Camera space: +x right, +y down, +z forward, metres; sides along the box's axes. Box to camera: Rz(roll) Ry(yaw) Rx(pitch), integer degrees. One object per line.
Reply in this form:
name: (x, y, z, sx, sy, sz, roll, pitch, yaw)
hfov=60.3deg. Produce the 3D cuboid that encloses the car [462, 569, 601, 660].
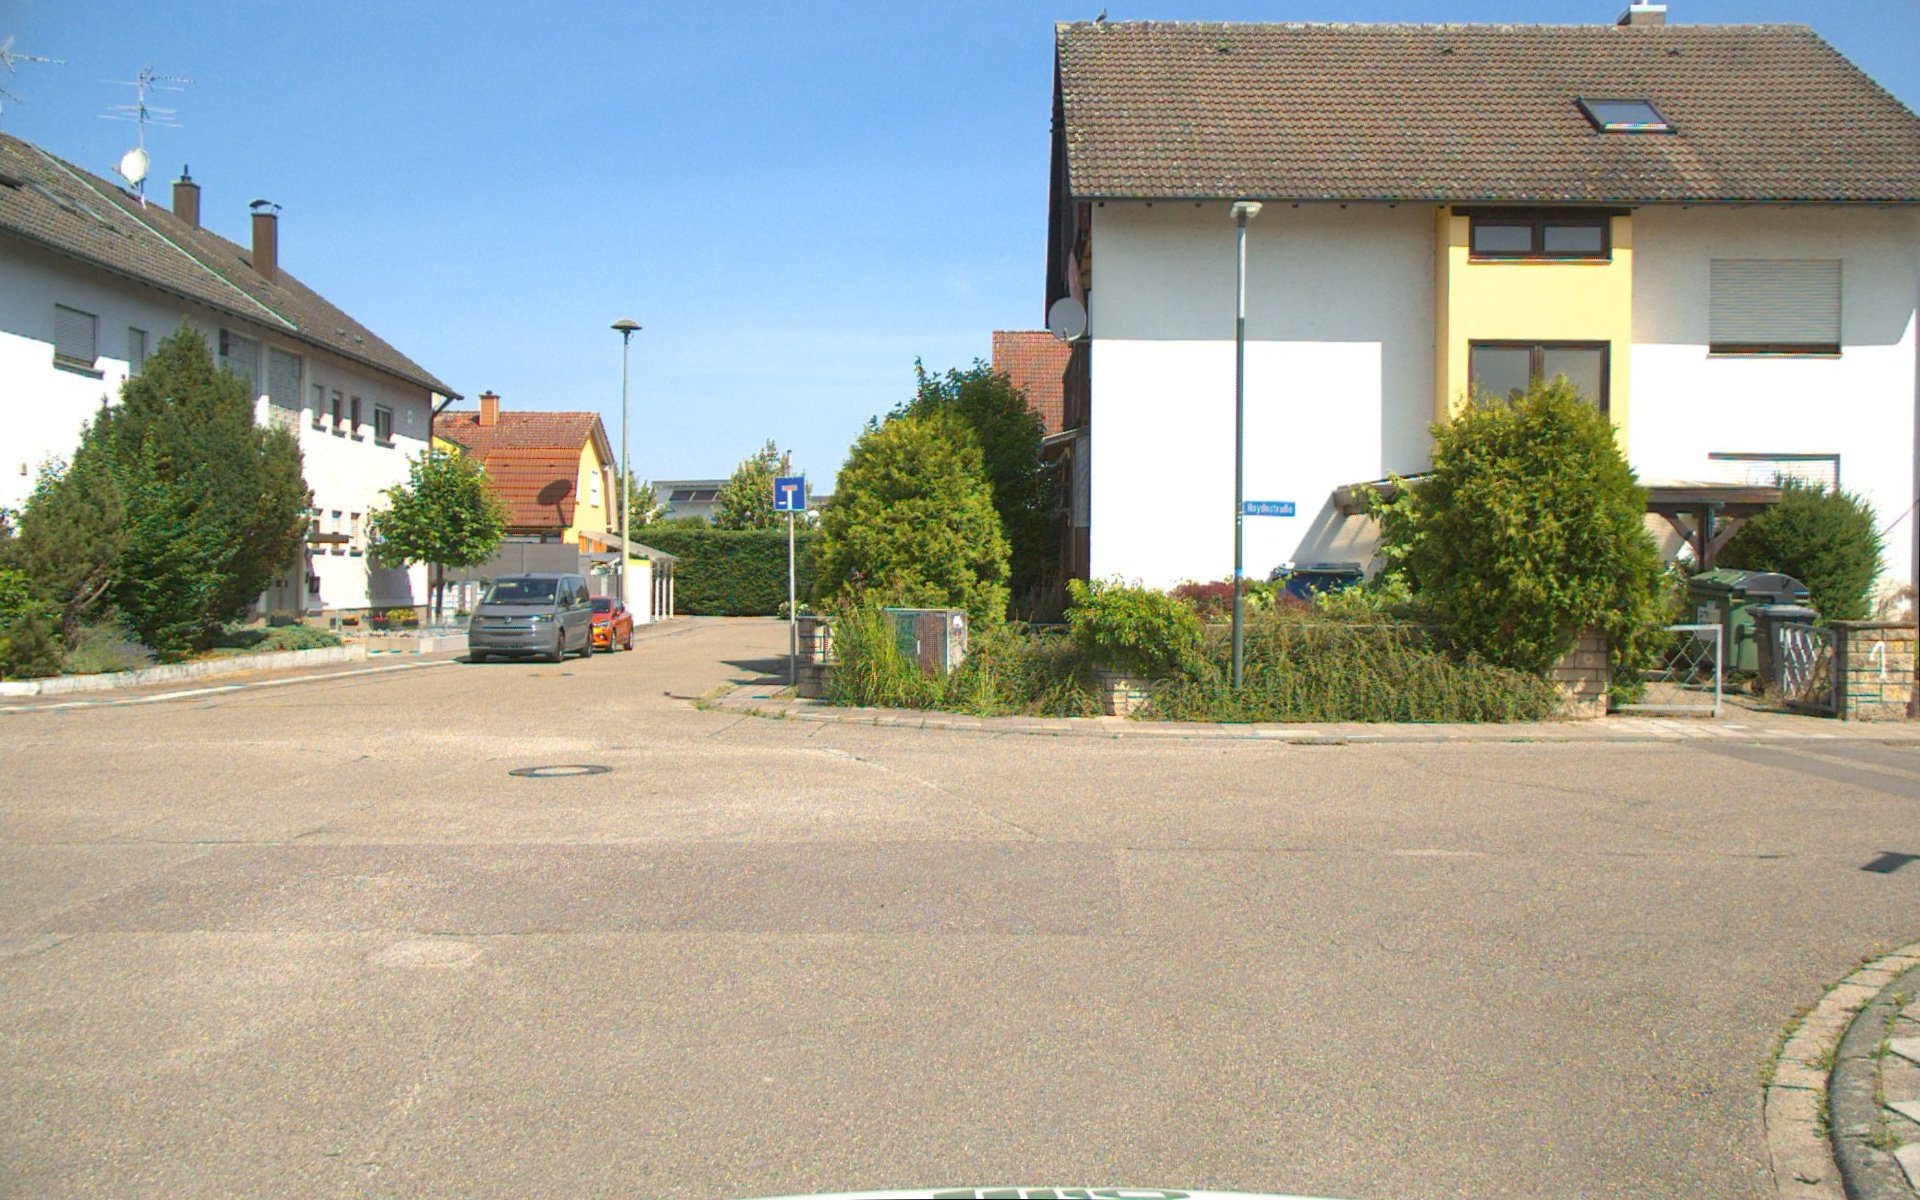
car: (-9.372, 0.272, 36.528, 1.862, 1.902, 4.372, 0, 1, 1)

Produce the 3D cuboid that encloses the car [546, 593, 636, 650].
car: (-9.558, 0.533, 43.095, 1.618, 1.388, 3.777, 0, 0, -2)
